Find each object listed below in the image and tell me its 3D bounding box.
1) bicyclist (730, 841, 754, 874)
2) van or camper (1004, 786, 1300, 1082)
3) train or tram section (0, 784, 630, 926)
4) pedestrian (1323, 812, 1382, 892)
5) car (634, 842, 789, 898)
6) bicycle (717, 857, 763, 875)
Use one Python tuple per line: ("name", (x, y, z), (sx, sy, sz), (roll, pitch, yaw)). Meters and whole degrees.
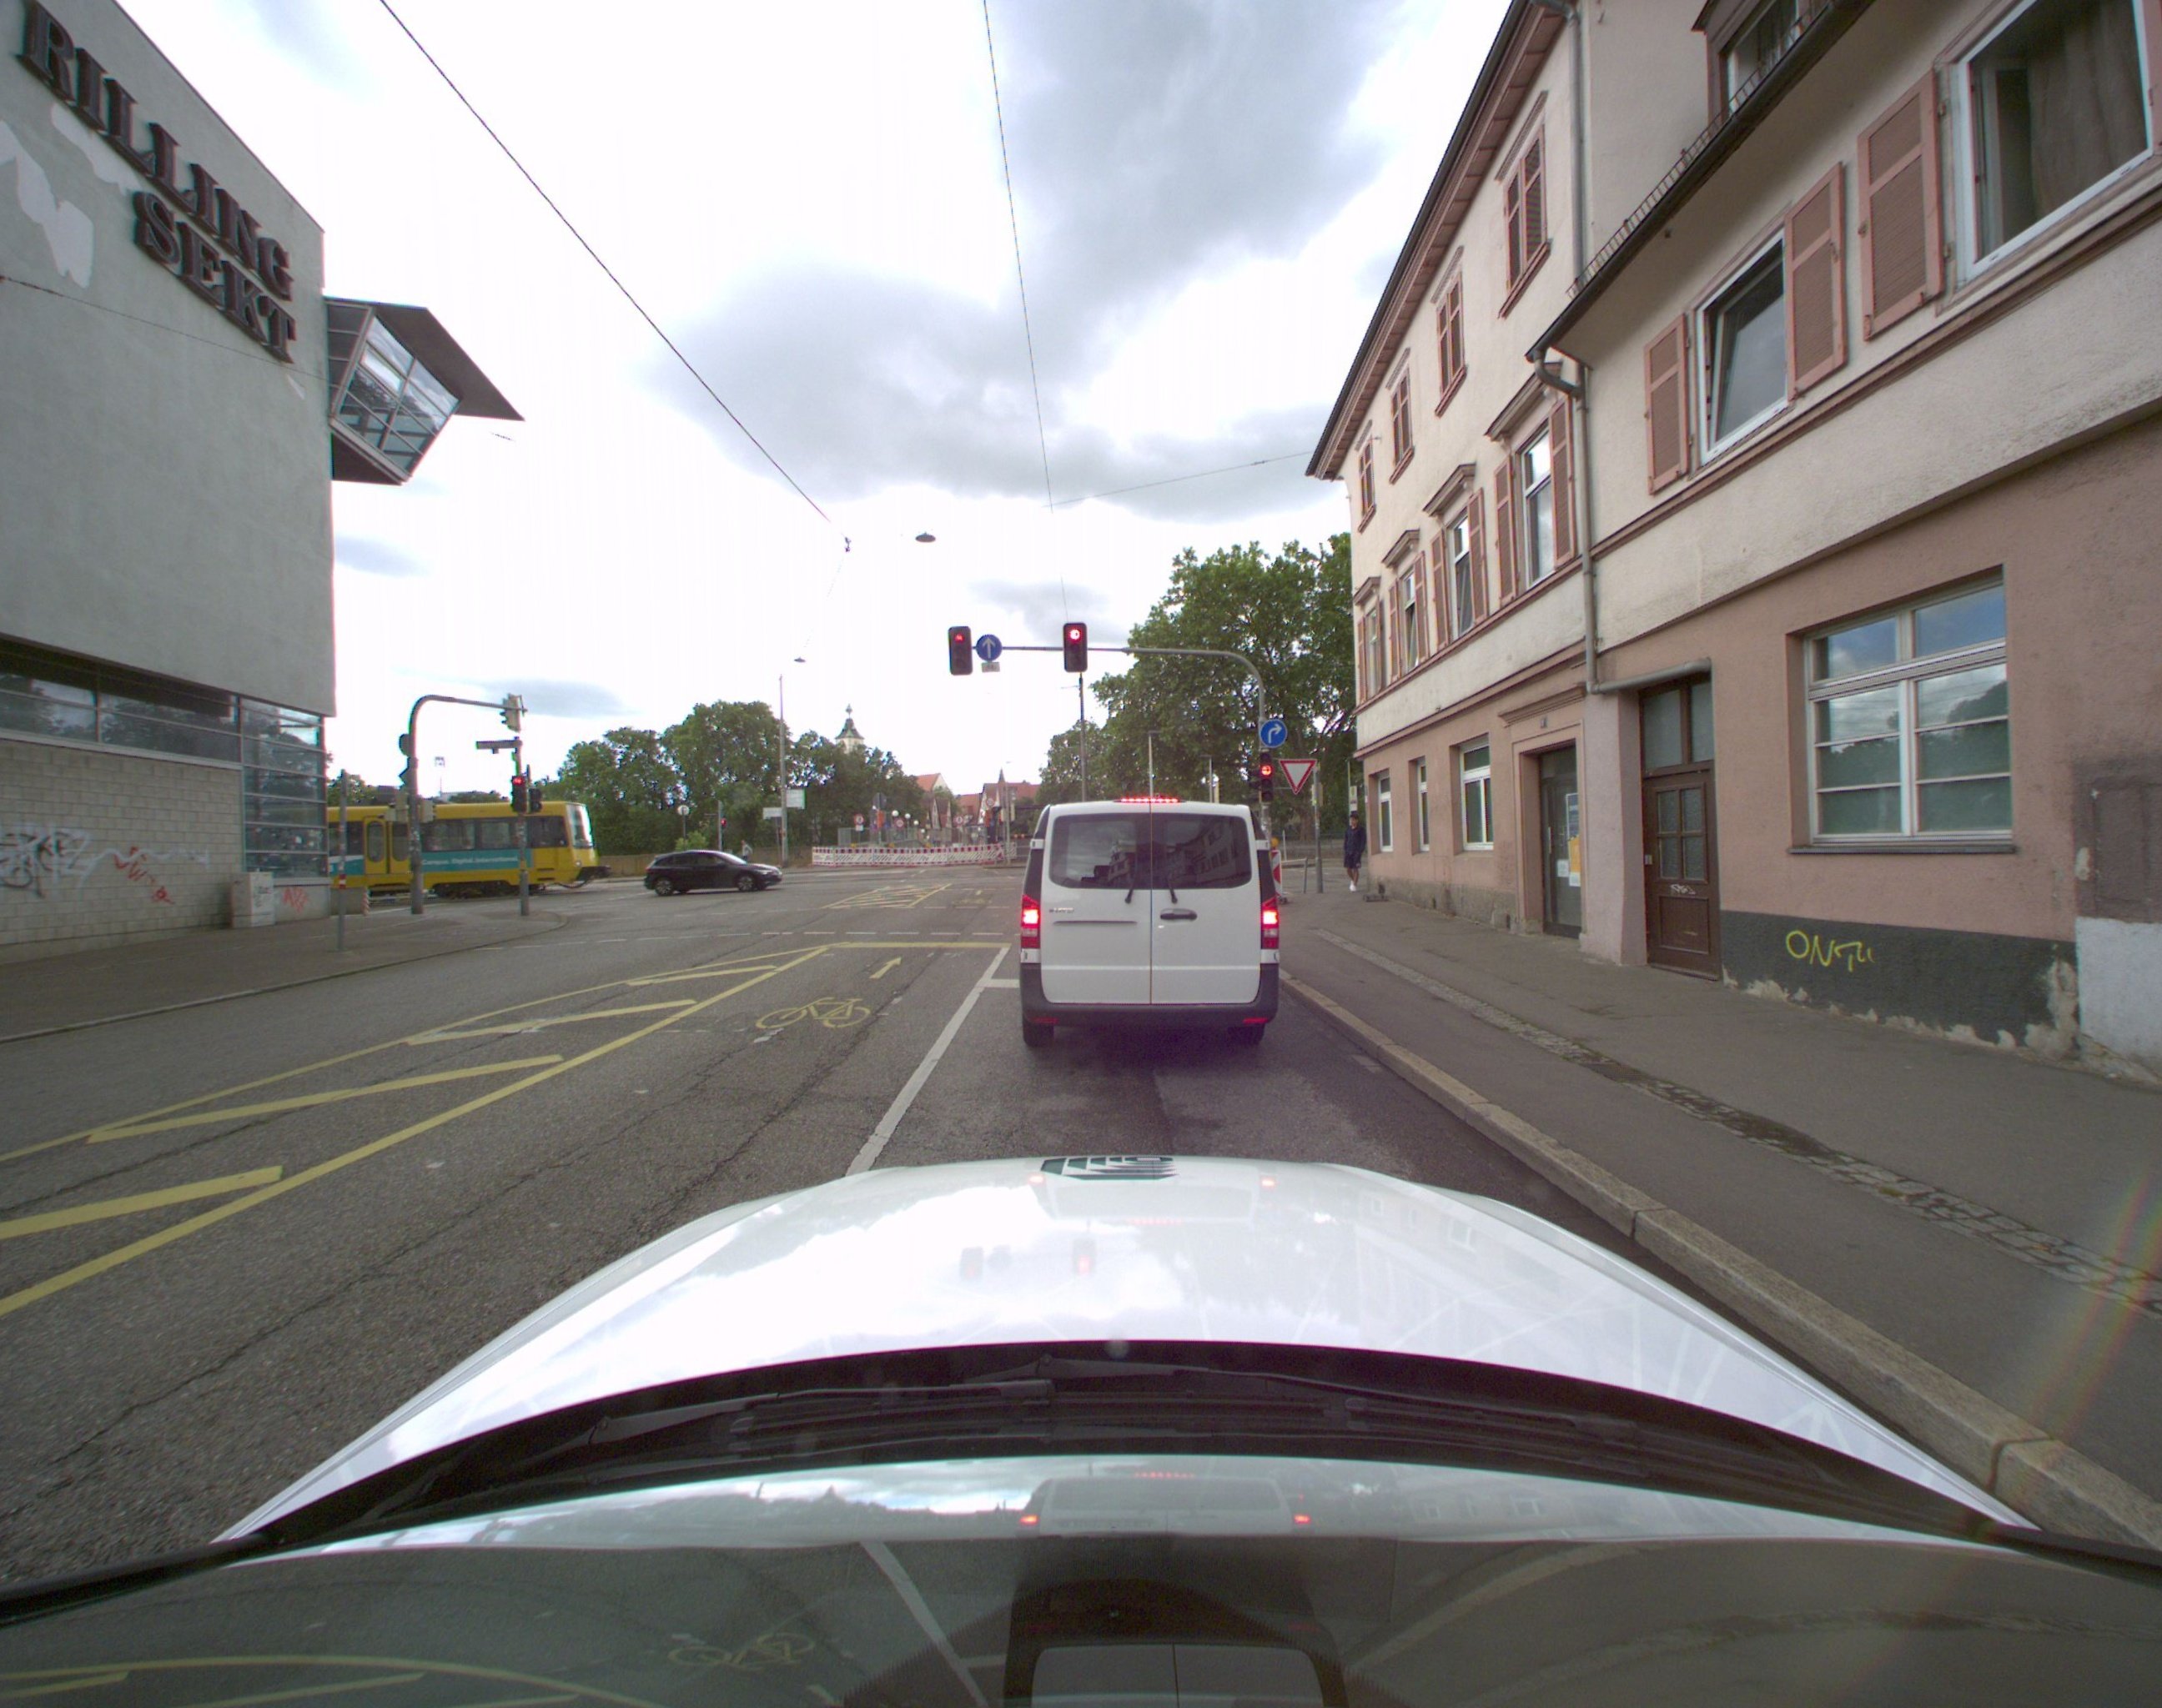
("bicyclist", (-18.119, 0.188, 43.542), (1.010, 1.743, 0.746), (-2, 1, -39))
("van or camper", (0.432, 0.451, 7.542), (1.932, 1.924, 4.439), (0, 2, -1))
("train or tram section", (-27.218, -0.154, 29.314), (18.791, 4.002, 3.251), (-3, 3, -13))
("pedestrian", (6.607, -0.053, 19.797), (1.156, 1.856, 0.673), (-3, 1, -28))
("car", (-12.374, 0.512, 27.516), (4.267, 1.574, 1.868), (-3, 2, -6))
("bicycle", (-18.206, 0.634, 43.483), (2.149, 0.892, 0.751), (-3, 2, -39))
